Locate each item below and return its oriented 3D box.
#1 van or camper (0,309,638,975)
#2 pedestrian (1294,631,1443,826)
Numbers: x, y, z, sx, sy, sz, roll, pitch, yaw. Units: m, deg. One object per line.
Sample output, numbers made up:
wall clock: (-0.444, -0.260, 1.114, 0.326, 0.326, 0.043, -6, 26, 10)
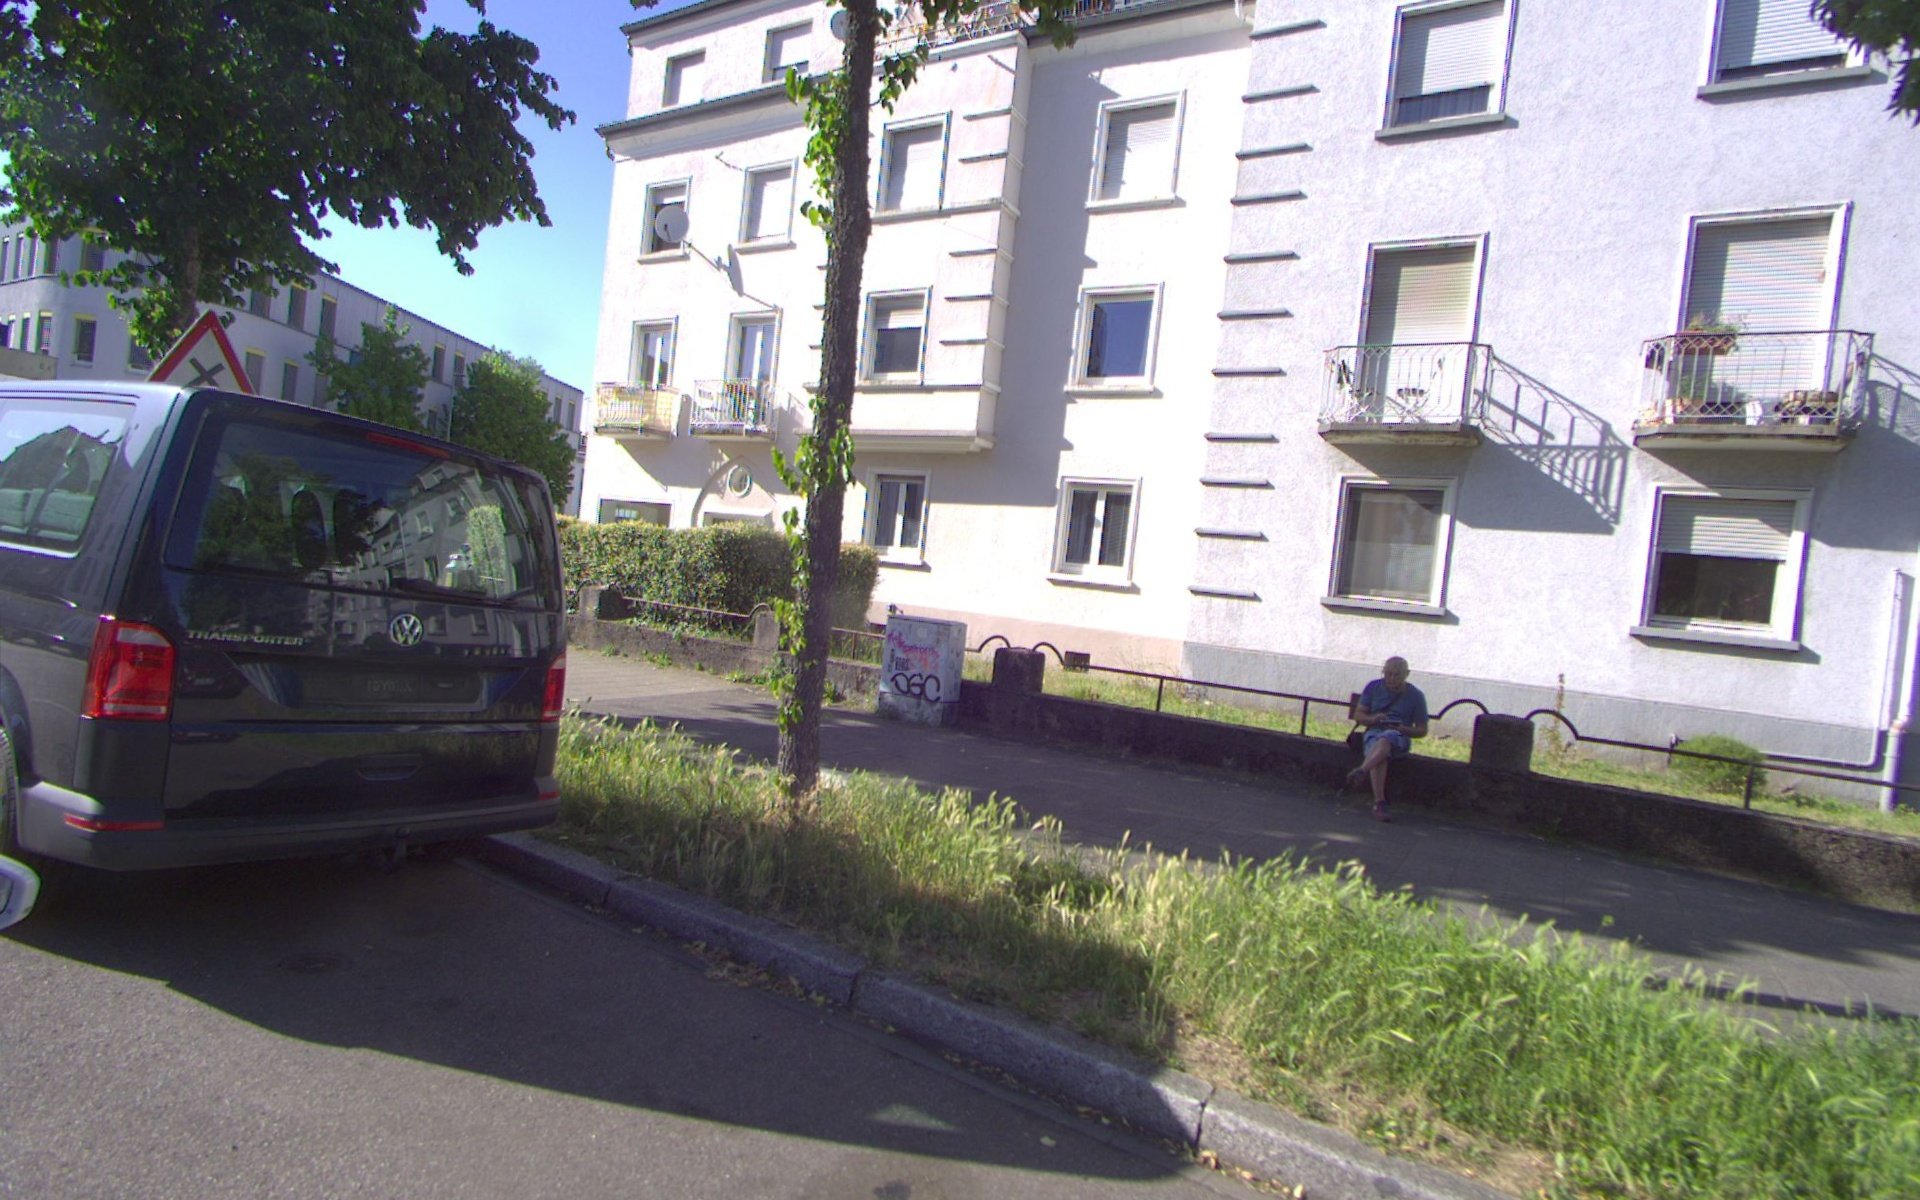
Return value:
van or camper: (-4.308, -0.015, 5.079, 5.298, 1.884, 1.993, 6, -2, 32)
pedestrian: (3.187, 0.970, 7.797, 0.805, 1.310, 1.084, 6, -2, 31)
